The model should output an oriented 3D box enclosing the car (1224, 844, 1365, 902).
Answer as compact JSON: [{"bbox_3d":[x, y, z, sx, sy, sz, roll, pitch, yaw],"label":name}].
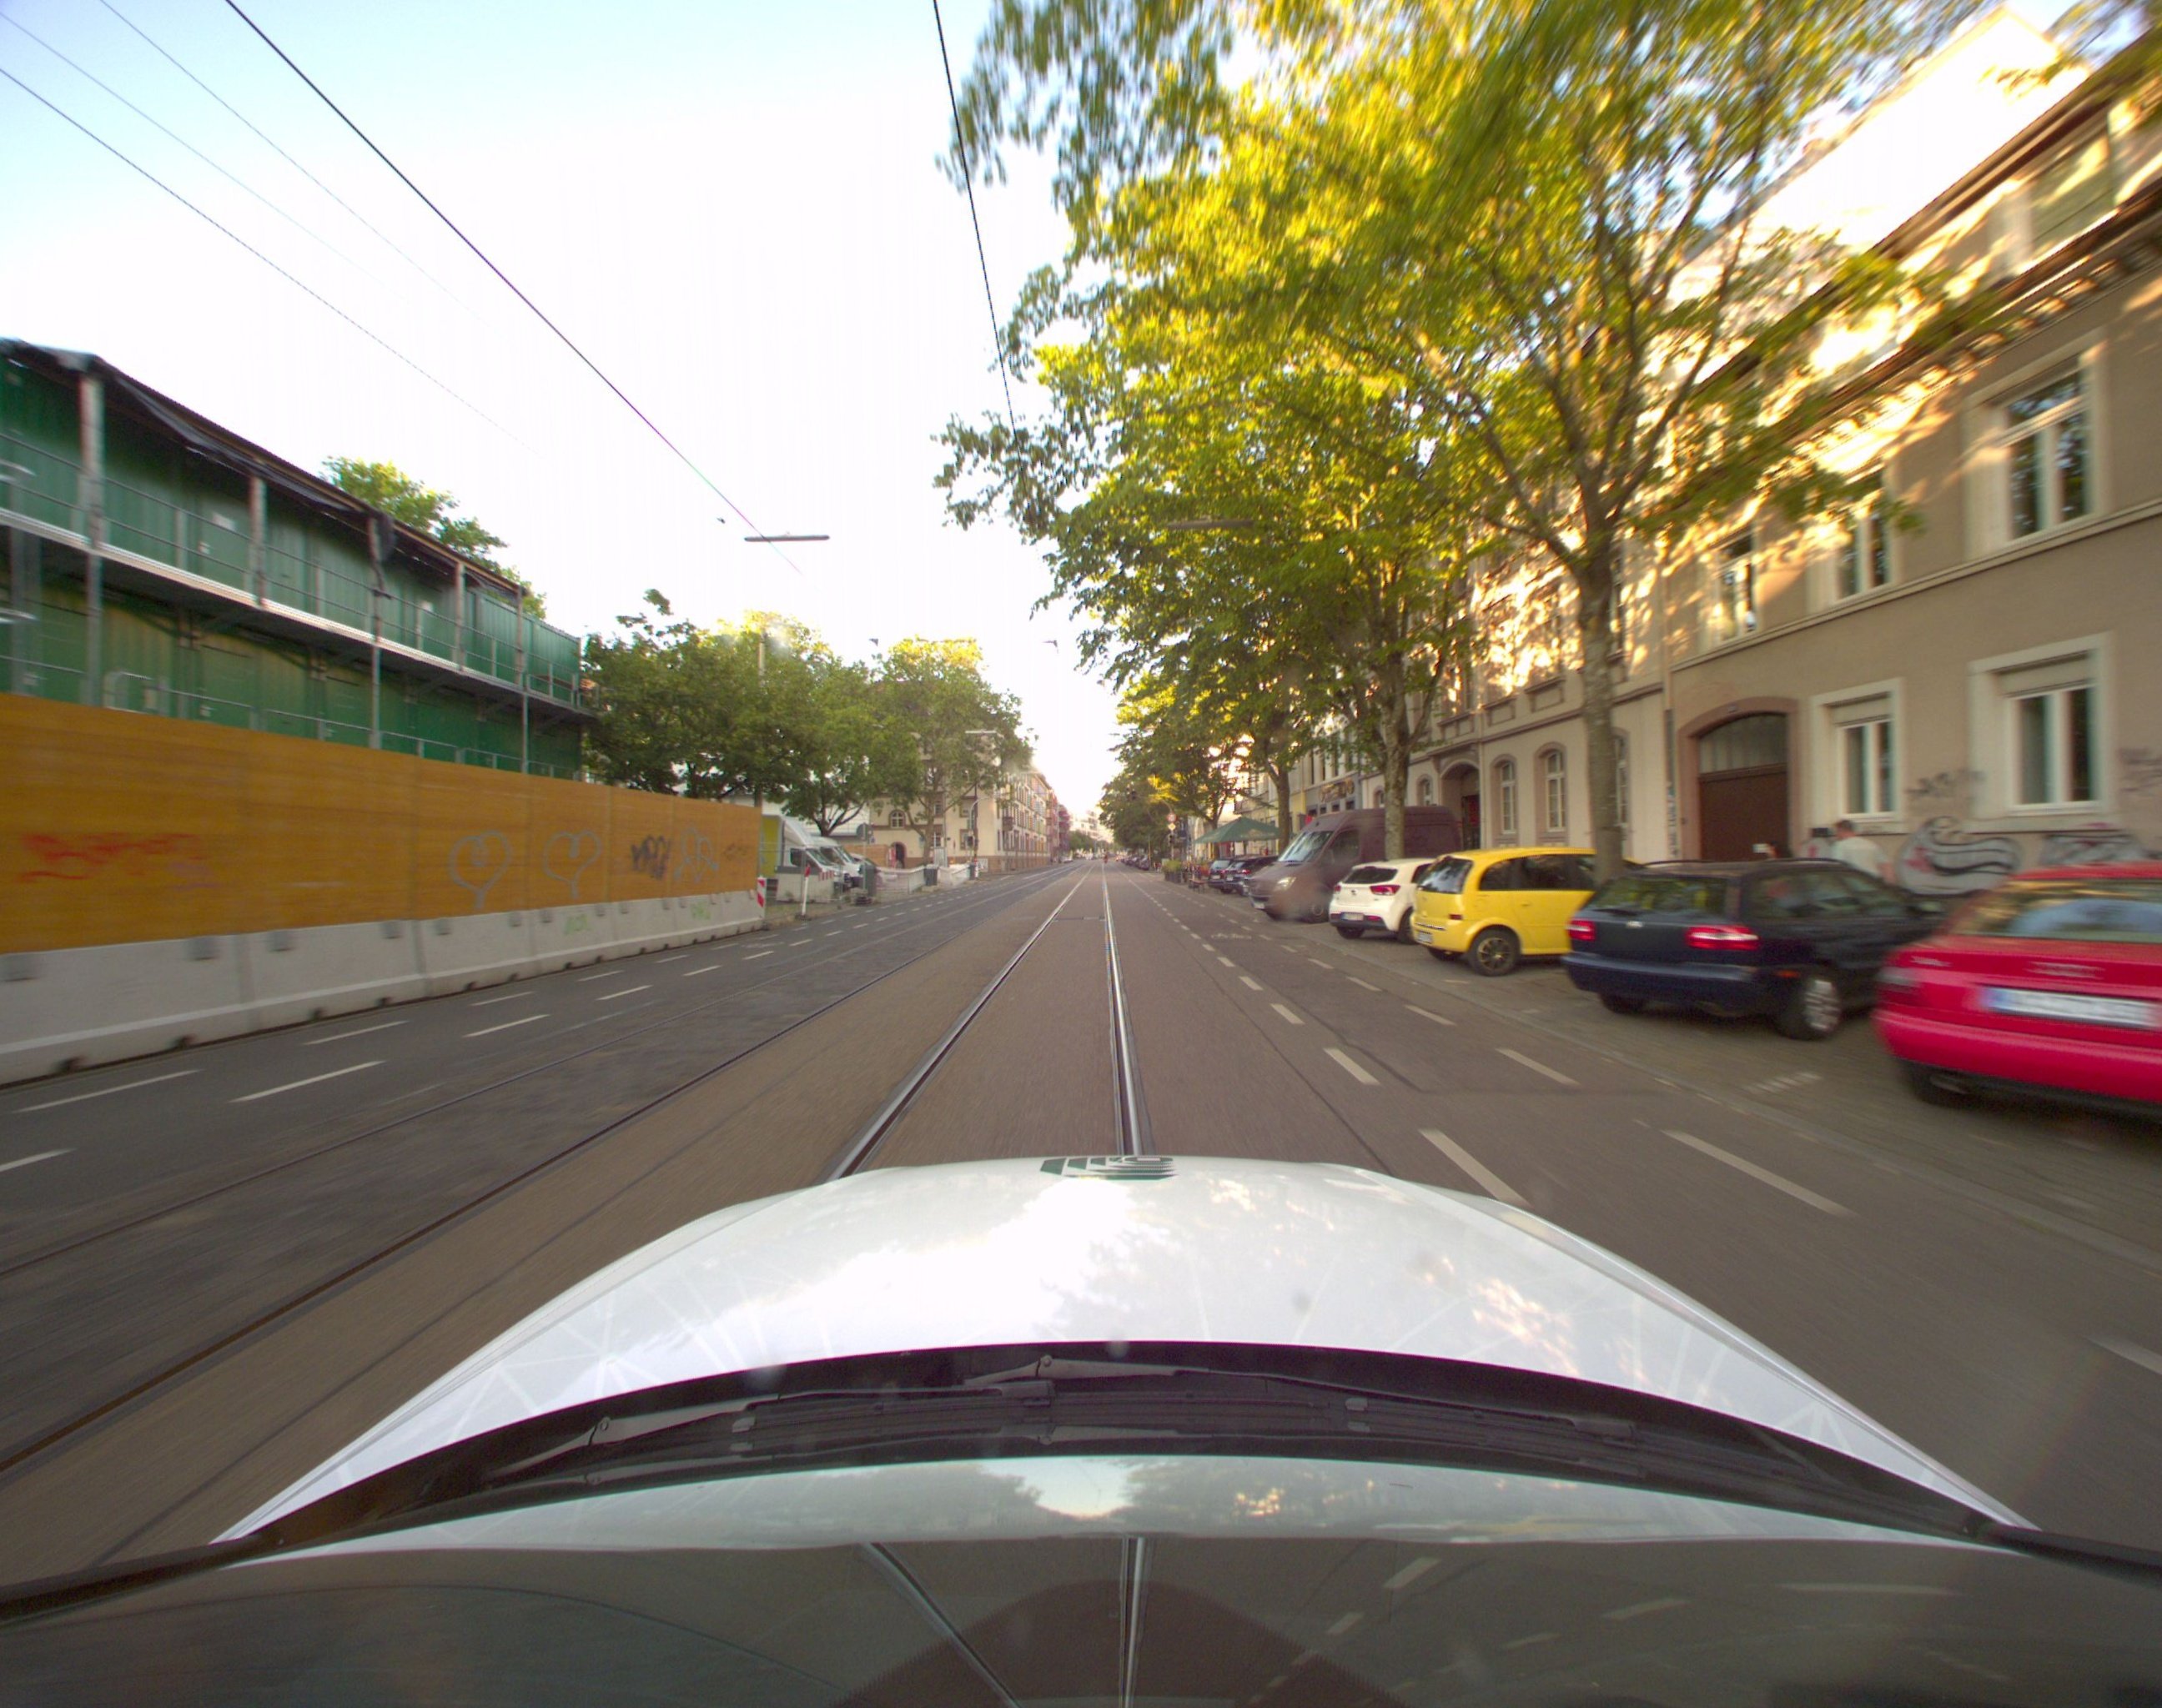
[{"bbox_3d":[6.857,0.603,26.357,4.006,1.708,1.814,-2,-1,-5],"label":"car"}]

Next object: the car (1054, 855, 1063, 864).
[{"bbox_3d":[-5.151,1.242,187.747,1.891,2.014,4.001,0,0,1],"label":"car"}]

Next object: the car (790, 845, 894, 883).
[{"bbox_3d":[-13.145,0.508,44.946,5.002,1.945,2.230,1,0,5],"label":"car"}]

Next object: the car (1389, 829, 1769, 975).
[{"bbox_3d":[6.552,0.609,11.094,3.935,1.619,1.921,-3,-1,1],"label":"car"}]

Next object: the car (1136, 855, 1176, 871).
[{"bbox_3d":[7.492,0.900,81.769,3.872,1.592,1.862,-1,0,2],"label":"car"}]

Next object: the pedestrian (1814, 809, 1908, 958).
[{"bbox_3d":[9.861,0.365,10.313,0.563,1.814,0.607,-1,-1,1],"label":"pedestrian"}]

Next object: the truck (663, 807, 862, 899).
[{"bbox_3d":[-12.804,-0.047,33.200,7.039,3.480,2.539,1,0,-3],"label":"truck"}]

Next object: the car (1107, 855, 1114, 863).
[{"bbox_3d":[7.480,1.241,207.054,1.891,2.014,4.001,0,0,1],"label":"car"}]

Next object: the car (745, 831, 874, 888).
[{"bbox_3d":[-12.900,0.237,39.037,5.384,2.558,2.225,1,0,-2],"label":"car"}]

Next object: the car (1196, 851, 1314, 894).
[{"bbox_3d":[6.970,0.733,32.625,4.194,1.498,1.993,-2,-1,-24],"label":"car"}]

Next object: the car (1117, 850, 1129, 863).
[{"bbox_3d":[6.704,0.395,129.882,1.798,2.014,4.001,0,0,1],"label":"car"}]

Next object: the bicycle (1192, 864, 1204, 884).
[{"bbox_3d":[6.228,1.068,43.349,0.417,1.015,1.830,0,0,2],"label":"bicycle"}]

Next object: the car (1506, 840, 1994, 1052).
[{"bbox_3d":[6.347,0.688,7.733,4.141,1.425,1.905,-3,-1,-24],"label":"car"}]

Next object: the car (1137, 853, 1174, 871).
[{"bbox_3d":[7.960,0.835,87.199,3.872,1.848,1.862,-1,-1,2],"label":"car"}]

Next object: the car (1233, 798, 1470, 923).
[{"bbox_3d":[6.532,0.113,19.792,5.105,2.642,2.011,-3,-1,-16],"label":"car"}]

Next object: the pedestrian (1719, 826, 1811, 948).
[{"bbox_3d":[9.199,0.429,10.979,0.536,1.568,0.814,-1,0,3],"label":"pedestrian"}]

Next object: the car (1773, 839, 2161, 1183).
[{"bbox_3d":[6.436,0.671,4.864,4.141,1.425,1.882,-3,-1,-24],"label":"car"}]

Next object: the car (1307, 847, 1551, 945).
[{"bbox_3d":[6.457,0.720,15.139,3.967,1.486,1.906,-3,-1,-23],"label":"car"}]

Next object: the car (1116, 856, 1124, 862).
[{"bbox_3d":[10.439,1.343,218.325,1.956,1.718,4.001,0,0,1],"label":"car"}]

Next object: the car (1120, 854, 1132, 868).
[{"bbox_3d":[6.662,1.008,121.187,1.715,2.014,4.001,0,0,1],"label":"car"}]

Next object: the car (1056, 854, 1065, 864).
[{"bbox_3d":[-4.769,1.137,192.389,1.891,2.178,4.001,0,0,1],"label":"car"}]

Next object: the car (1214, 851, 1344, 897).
[{"bbox_3d":[7.237,0.718,29.966,4.182,1.462,1.998,-2,-1,-15],"label":"car"}]
